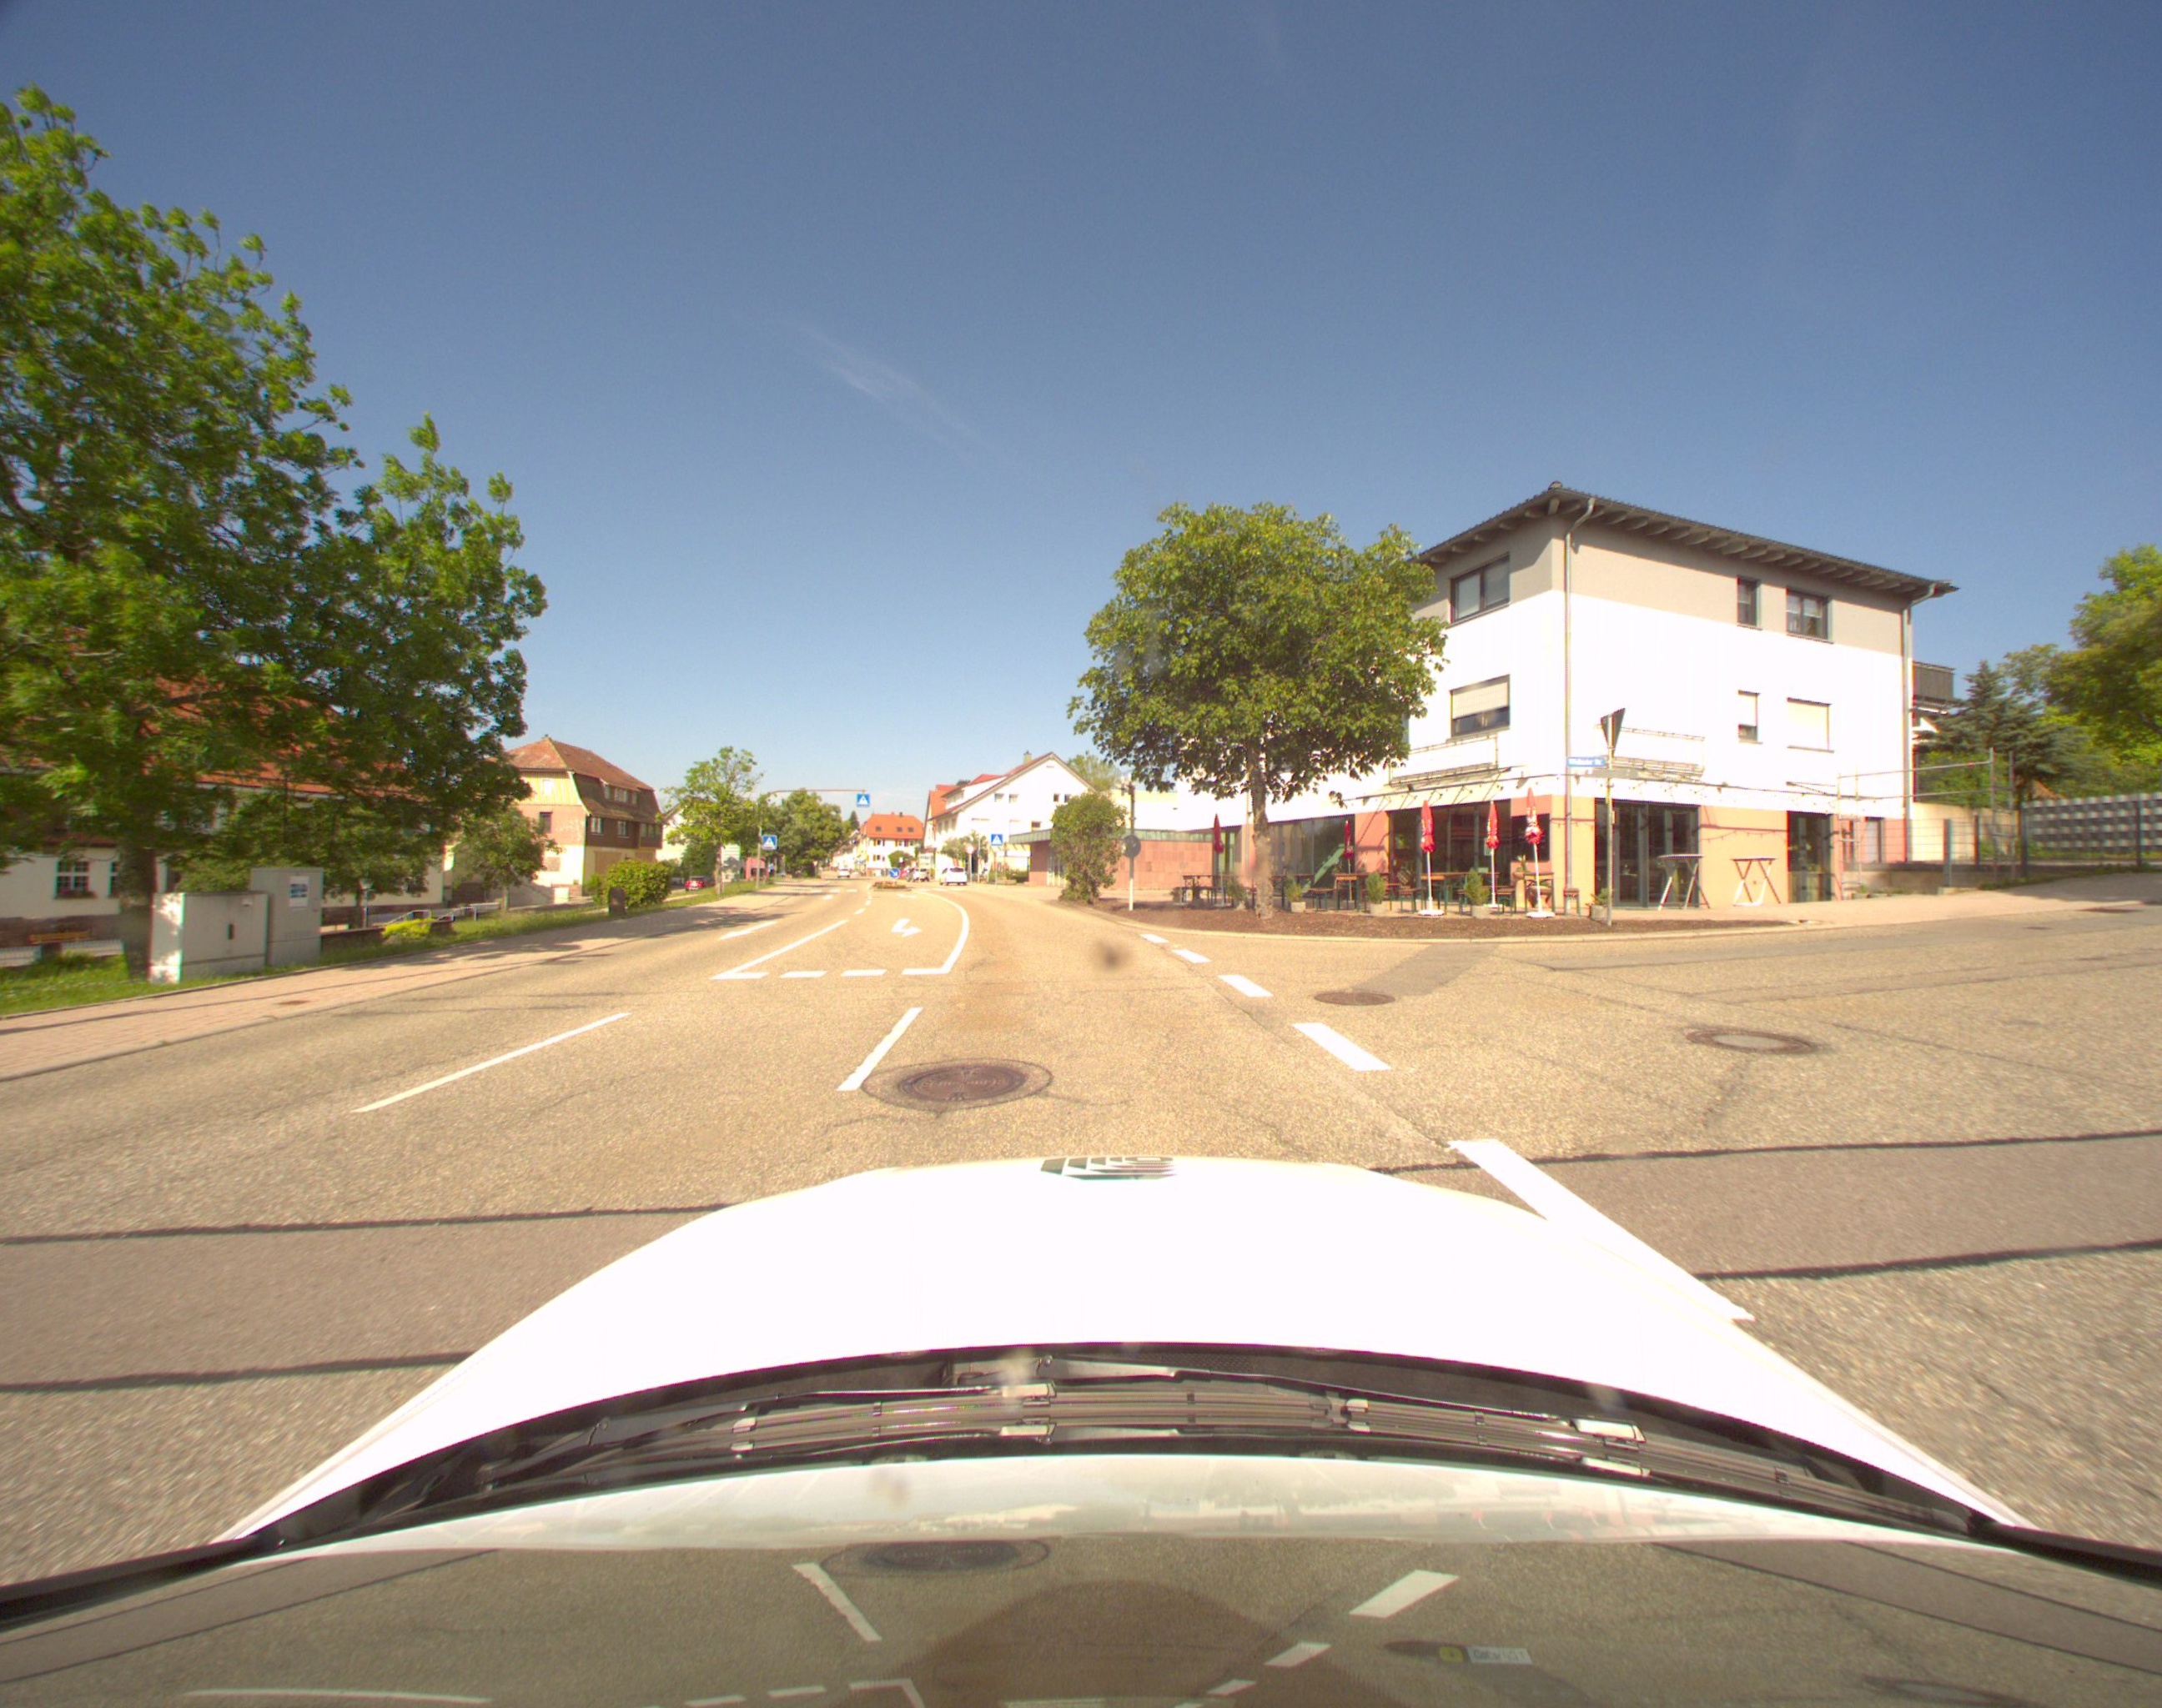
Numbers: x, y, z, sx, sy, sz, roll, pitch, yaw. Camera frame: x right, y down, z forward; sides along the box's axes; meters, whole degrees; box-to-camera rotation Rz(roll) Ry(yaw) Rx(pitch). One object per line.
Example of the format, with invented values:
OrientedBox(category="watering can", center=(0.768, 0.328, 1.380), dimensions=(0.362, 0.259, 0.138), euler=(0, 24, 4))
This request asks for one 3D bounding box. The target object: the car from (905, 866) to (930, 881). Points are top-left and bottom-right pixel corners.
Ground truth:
OrientedBox(category="car", center=(-16.197, 1.938, 80.672), dimensions=(1.642, 1.420, 3.905), euler=(-1, -1, -23))

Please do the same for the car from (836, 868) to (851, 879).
OrientedBox(category="car", center=(-43.903, 3.579, 150.406), dimensions=(2.503, 2.014, 4.276), euler=(-2, -1, -19))

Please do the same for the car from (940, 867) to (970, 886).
OrientedBox(category="car", center=(-9.831, 1.732, 63.478), dimensions=(1.764, 1.423, 3.612), euler=(-2, -1, -17))

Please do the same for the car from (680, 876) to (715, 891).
OrientedBox(category="car", center=(-37.097, 2.854, 78.889), dimensions=(1.718, 1.297, 3.993), euler=(-2, -1, -5))

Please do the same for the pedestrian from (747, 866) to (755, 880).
OrientedBox(category="pedestrian", center=(-28.787, 1.665, 71.038), dimensions=(0.631, 1.253, 0.420), euler=(-2, -1, -22))

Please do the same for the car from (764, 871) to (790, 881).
OrientedBox(category="car", center=(-49.449, 3.576, 132.507), dimensions=(3.756, 1.455, 1.812), euler=(-2, -6, -8))
